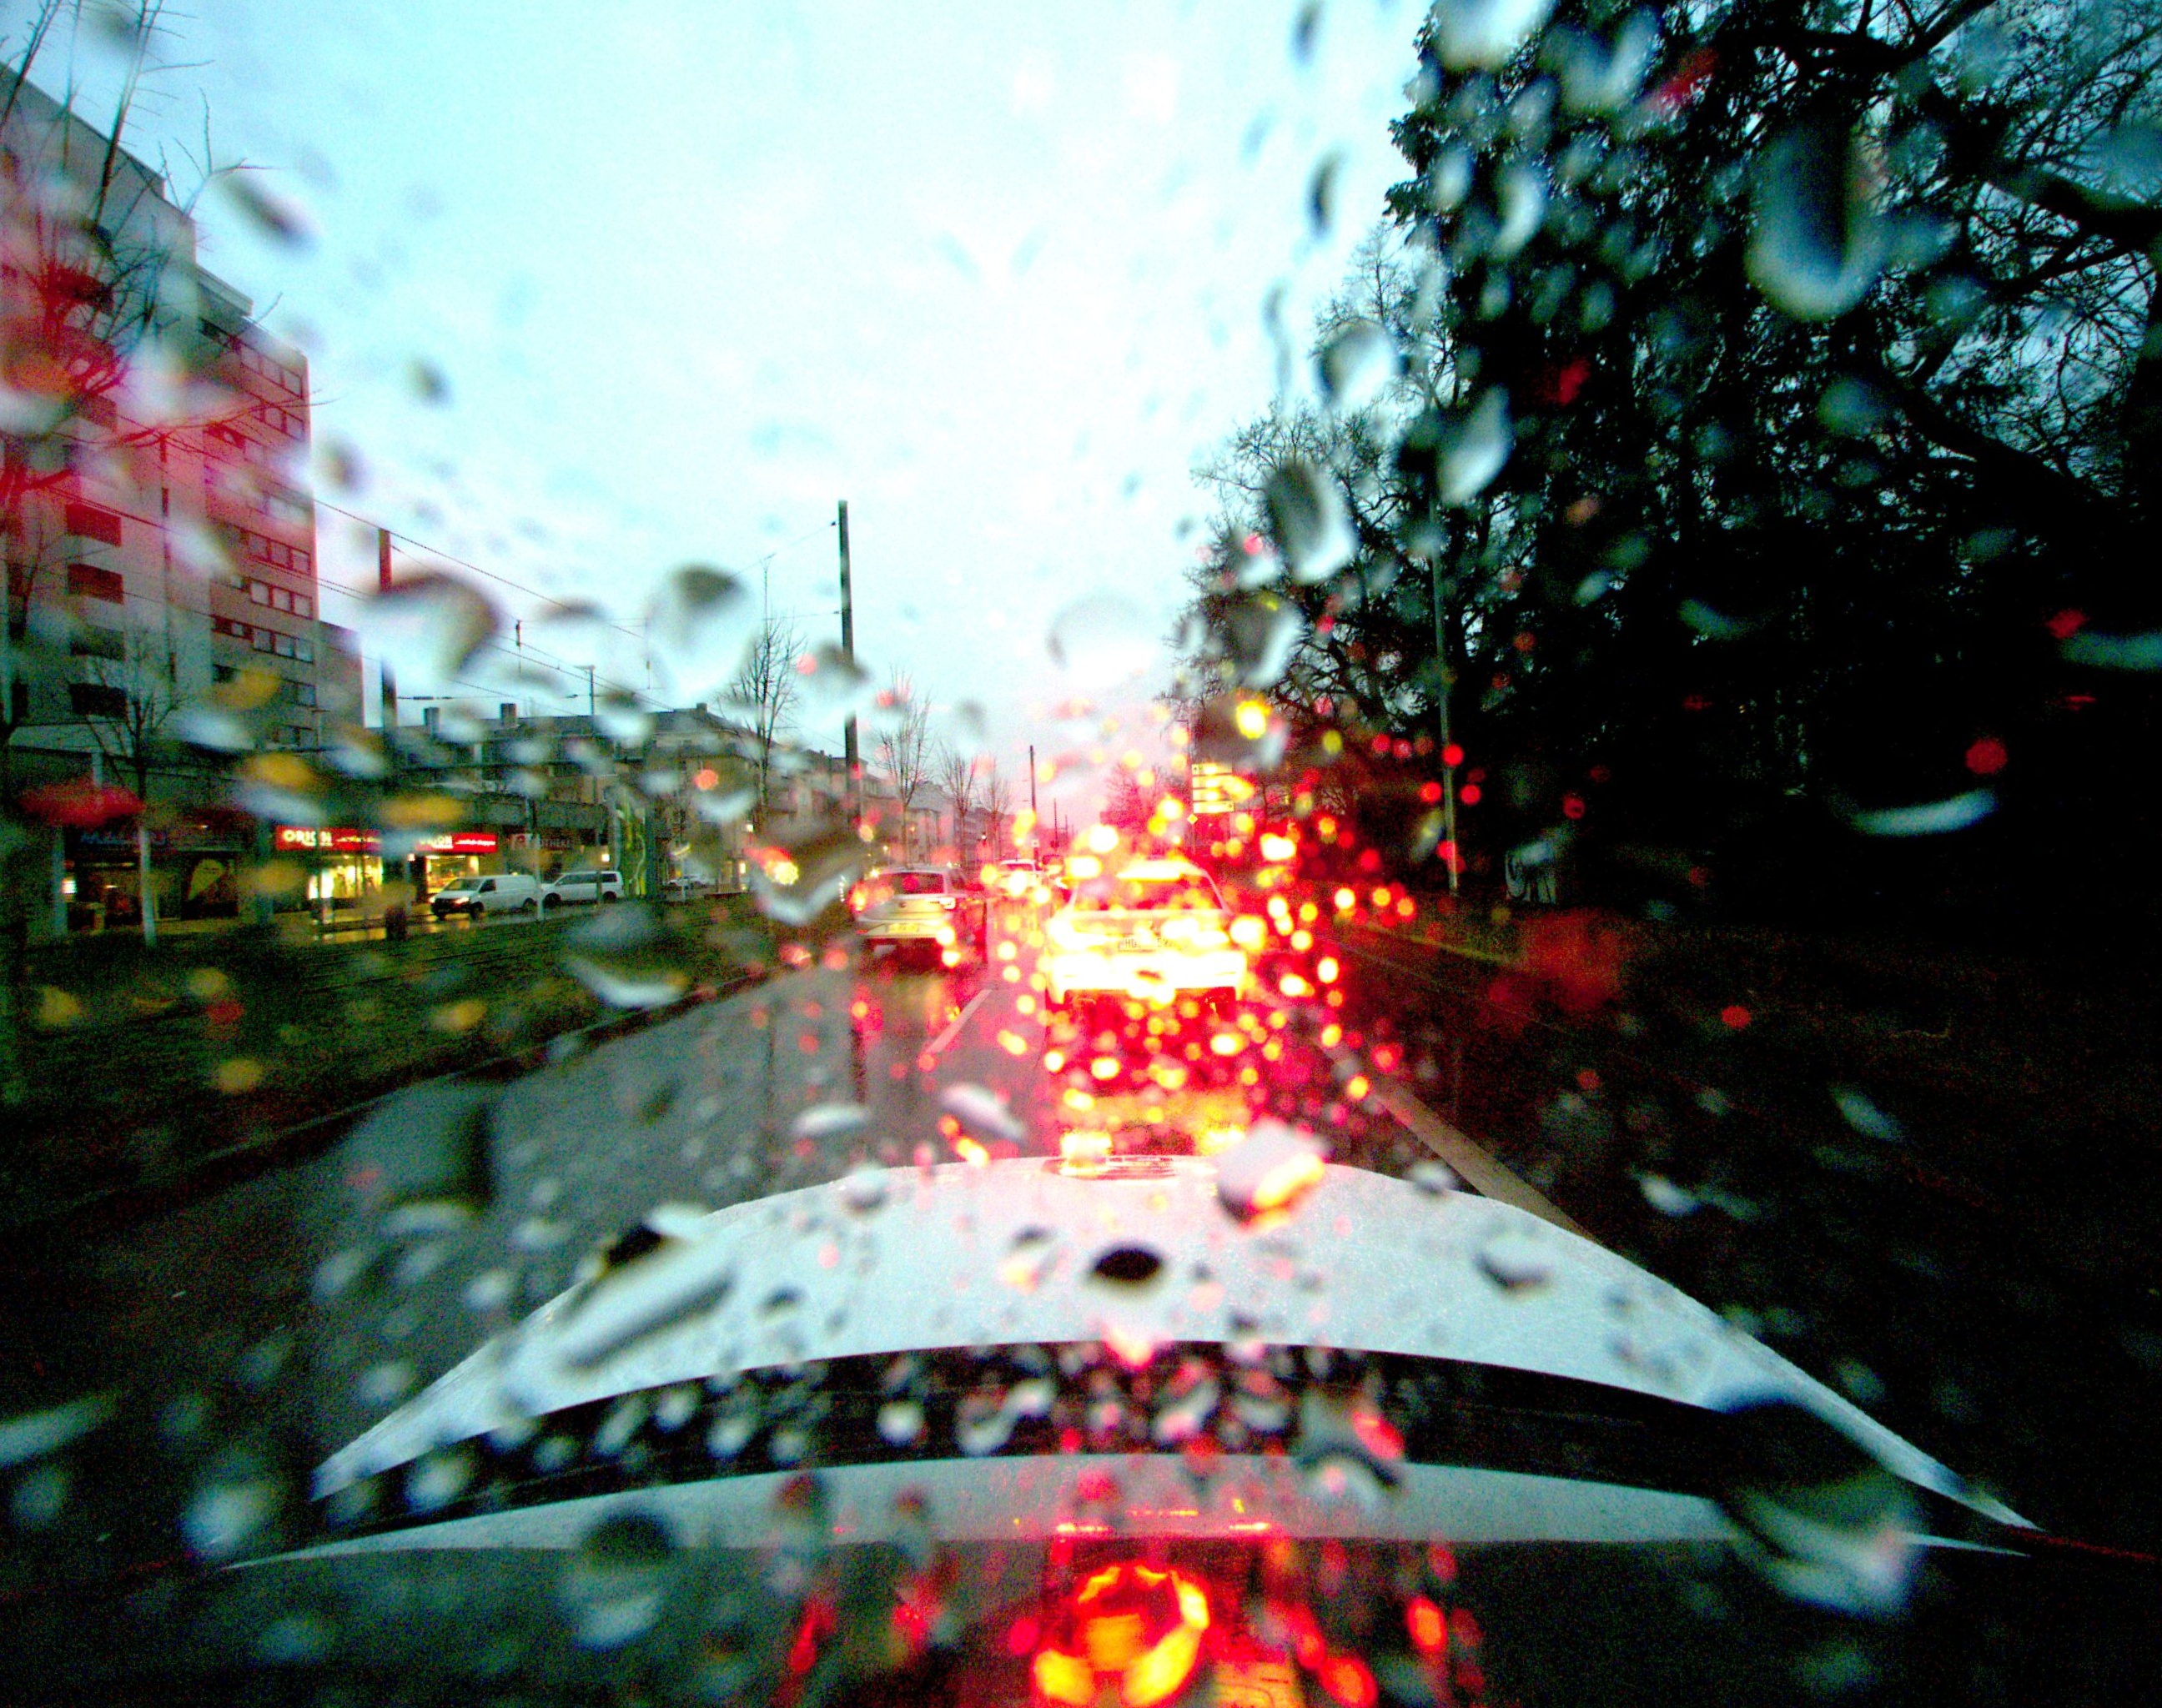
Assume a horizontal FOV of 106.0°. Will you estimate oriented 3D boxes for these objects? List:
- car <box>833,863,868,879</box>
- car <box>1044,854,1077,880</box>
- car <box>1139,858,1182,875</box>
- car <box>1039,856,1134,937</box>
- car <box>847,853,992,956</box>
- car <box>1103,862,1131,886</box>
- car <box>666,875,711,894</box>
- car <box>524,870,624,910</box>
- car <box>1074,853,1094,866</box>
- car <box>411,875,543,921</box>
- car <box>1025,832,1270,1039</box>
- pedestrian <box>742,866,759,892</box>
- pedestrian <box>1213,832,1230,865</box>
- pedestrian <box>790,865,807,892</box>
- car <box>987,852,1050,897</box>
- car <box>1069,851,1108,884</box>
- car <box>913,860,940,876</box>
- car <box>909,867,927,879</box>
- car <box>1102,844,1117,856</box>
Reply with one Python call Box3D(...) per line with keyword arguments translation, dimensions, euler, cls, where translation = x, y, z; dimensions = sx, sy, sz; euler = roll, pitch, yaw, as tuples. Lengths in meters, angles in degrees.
Box3D(translation=(-20.691, 1.500, 73.299), dimensions=(1.852, 1.332, 4.317), euler=(0, 0, 2), cls="car")
Box3D(translation=(-1.190, 0.762, 49.604), dimensions=(1.731, 1.419, 4.395), euler=(-3, 0, 2), cls="car")
Box3D(translation=(7.194, 1.125, 73.888), dimensions=(1.752, 1.419, 3.660), euler=(-2, 0, -38), cls="car")
Box3D(translation=(0.168, 0.834, 17.850), dimensions=(1.793, 1.511, 3.897), euler=(-2, 0, 2), cls="car")
Box3D(translation=(-2.683, 0.774, 14.421), dimensions=(1.687, 1.533, 4.000), euler=(-1, 0, 0), cls="car")
Box3D(translation=(2.310, 1.276, 53.017), dimensions=(1.731, 1.419, 3.704), euler=(-3, 0, 2), cls="car")
Box3D(translation=(-40.679, 3.147, 84.418), dimensions=(3.744, 1.942, 1.838), euler=(0, -1, -7), cls="car")
Box3D(translation=(-30.702, 2.101, 49.442), dimensions=(4.859, 2.244, 1.975), euler=(0, -1, -44), cls="car")
Box3D(translation=(0.364, 0.586, 82.486), dimensions=(1.923, 1.288, 4.001), euler=(0, 0, 2), cls="car")
Box3D(translation=(-29.703, 2.095, 40.338), dimensions=(1.983, 2.046, 5.575), euler=(0, -1, 6), cls="car")
Box3D(translation=(0.602, 0.639, 8.881), dimensions=(1.855, 1.556, 4.940), euler=(-3, 0, 2), cls="car")
Box3D(translation=(-26.936, 2.013, 66.386), dimensions=(1.274, 2.013, 1.000), euler=(-2, 0, -23), cls="pedestrian")
Box3D(translation=(8.879, -0.367, 51.490), dimensions=(0.954, 2.013, 1.009), euler=(-2, 0, 6), cls="pedestrian")
Box3D(translation=(-21.978, 1.914, 63.362), dimensions=(0.958, 2.013, 1.005), euler=(-2, 0, -7), cls="pedestrian")
Box3D(translation=(-2.260, 0.716, 30.596), dimensions=(1.792, 1.466, 4.587), euler=(-3, 0, 2), cls="car")
Box3D(translation=(0.402, 0.611, 38.874), dimensions=(1.731, 1.419, 3.704), euler=(-3, 0, 2), cls="car")
Box3D(translation=(-16.126, 1.411, 85.144), dimensions=(1.987, 1.602, 4.000), euler=(0, -1, 1), cls="car")
Box3D(translation=(-19.922, 2.337, 99.675), dimensions=(1.688, 1.277, 4.141), euler=(-2, 0, -4), cls="car")
Box3D(translation=(3.554, -0.542, 101.923), dimensions=(1.731, 1.419, 4.147), euler=(-3, 0, 2), cls="car")
